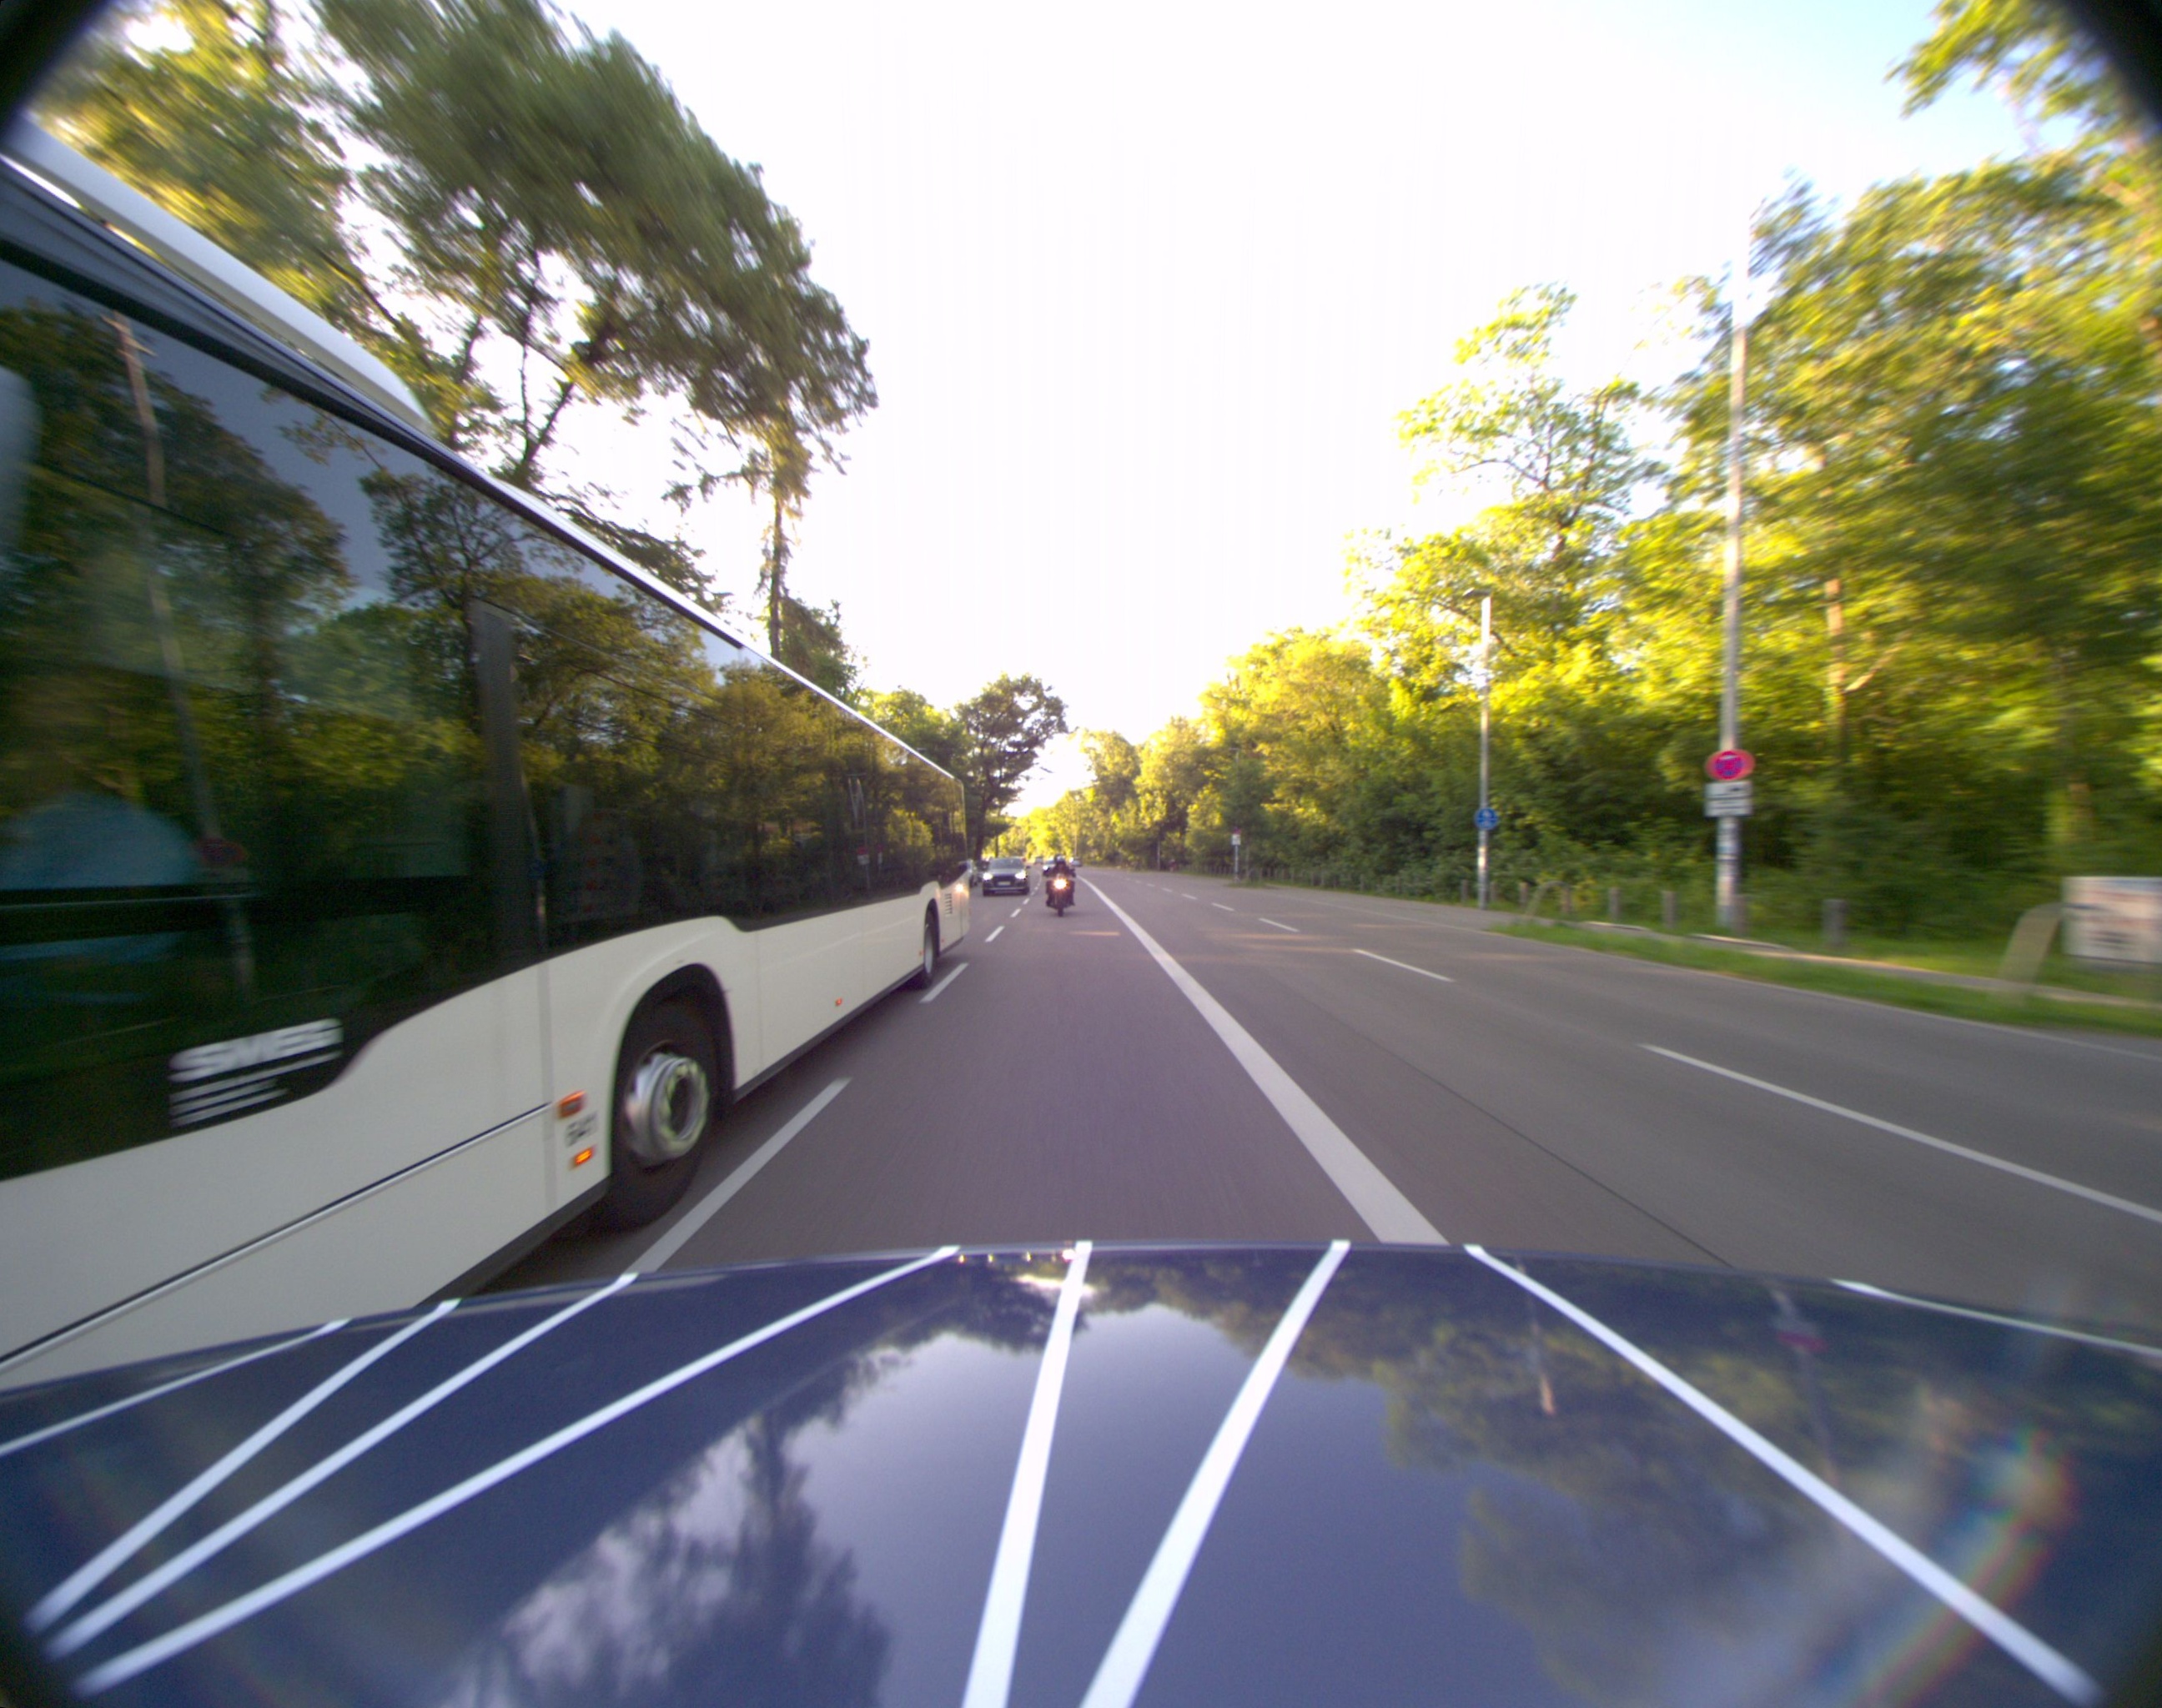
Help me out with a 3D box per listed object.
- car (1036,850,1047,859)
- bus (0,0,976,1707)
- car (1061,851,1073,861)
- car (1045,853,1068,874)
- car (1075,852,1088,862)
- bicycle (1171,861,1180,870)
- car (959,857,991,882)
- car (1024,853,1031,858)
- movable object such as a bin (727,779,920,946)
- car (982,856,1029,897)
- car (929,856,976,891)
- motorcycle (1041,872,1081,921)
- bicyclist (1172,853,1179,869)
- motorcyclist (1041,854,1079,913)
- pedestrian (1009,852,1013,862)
[{"bbox_3d":[-8.835,0.081,170.076,2.213,1.949,4.911,-1,0,-4],"label":"car"},{"bbox_3d":[-3.095,0.190,6.545,2.711,3.203,12.277,-1,0,0],"label":"bus"},{"bbox_3d":[-2.429,0.389,133.565,1.923,1.694,4.441,-1,0,-2],"label":"car"},{"bbox_3d":[-2.166,0.841,68.875,1.999,1.761,4.231,0,0,-1],"label":"car"},{"bbox_3d":[0.047,0.471,123.684,1.903,1.523,4.527,-1,0,-4],"label":"car"},{"bbox_3d":[8.875,1.086,71.427,0.496,0.809,1.807,2,0,-3],"label":"bicycle"},{"bbox_3d":[-7.309,1.045,52.661,2.000,1.548,4.096,2,0,-5],"label":"car"},{"bbox_3d":[-16.141,0.552,228.983,1.829,1.454,4.921,-1,0,-9],"label":"car"},{"bbox_3d":[-5.989,0.165,19.123,2.767,3.351,7.596,0,0,-5],"label":"movable object such as a bin"},{"bbox_3d":[-3.250,0.926,33.331,1.862,1.608,3.998,-2,0,-3],"label":"car"},{"bbox_3d":[-6.379,0.933,38.141,1.843,1.565,4.457,-1,0,-3],"label":"car"},{"bbox_3d":[-0.541,1.110,20.789,0.956,1.098,3.339,-3,0,-1],"label":"motorcycle"},{"bbox_3d":[8.892,0.668,71.382,0.501,1.475,0.761,2,1,-2],"label":"bicyclist"},{"bbox_3d":[-0.558,0.768,20.540,0.953,1.523,1.073,-2,1,-1],"label":"motorcyclist"},{"bbox_3d":[-12.569,0.577,136.855,0.513,1.746,0.734,0,0,-20],"label":"pedestrian"}]
